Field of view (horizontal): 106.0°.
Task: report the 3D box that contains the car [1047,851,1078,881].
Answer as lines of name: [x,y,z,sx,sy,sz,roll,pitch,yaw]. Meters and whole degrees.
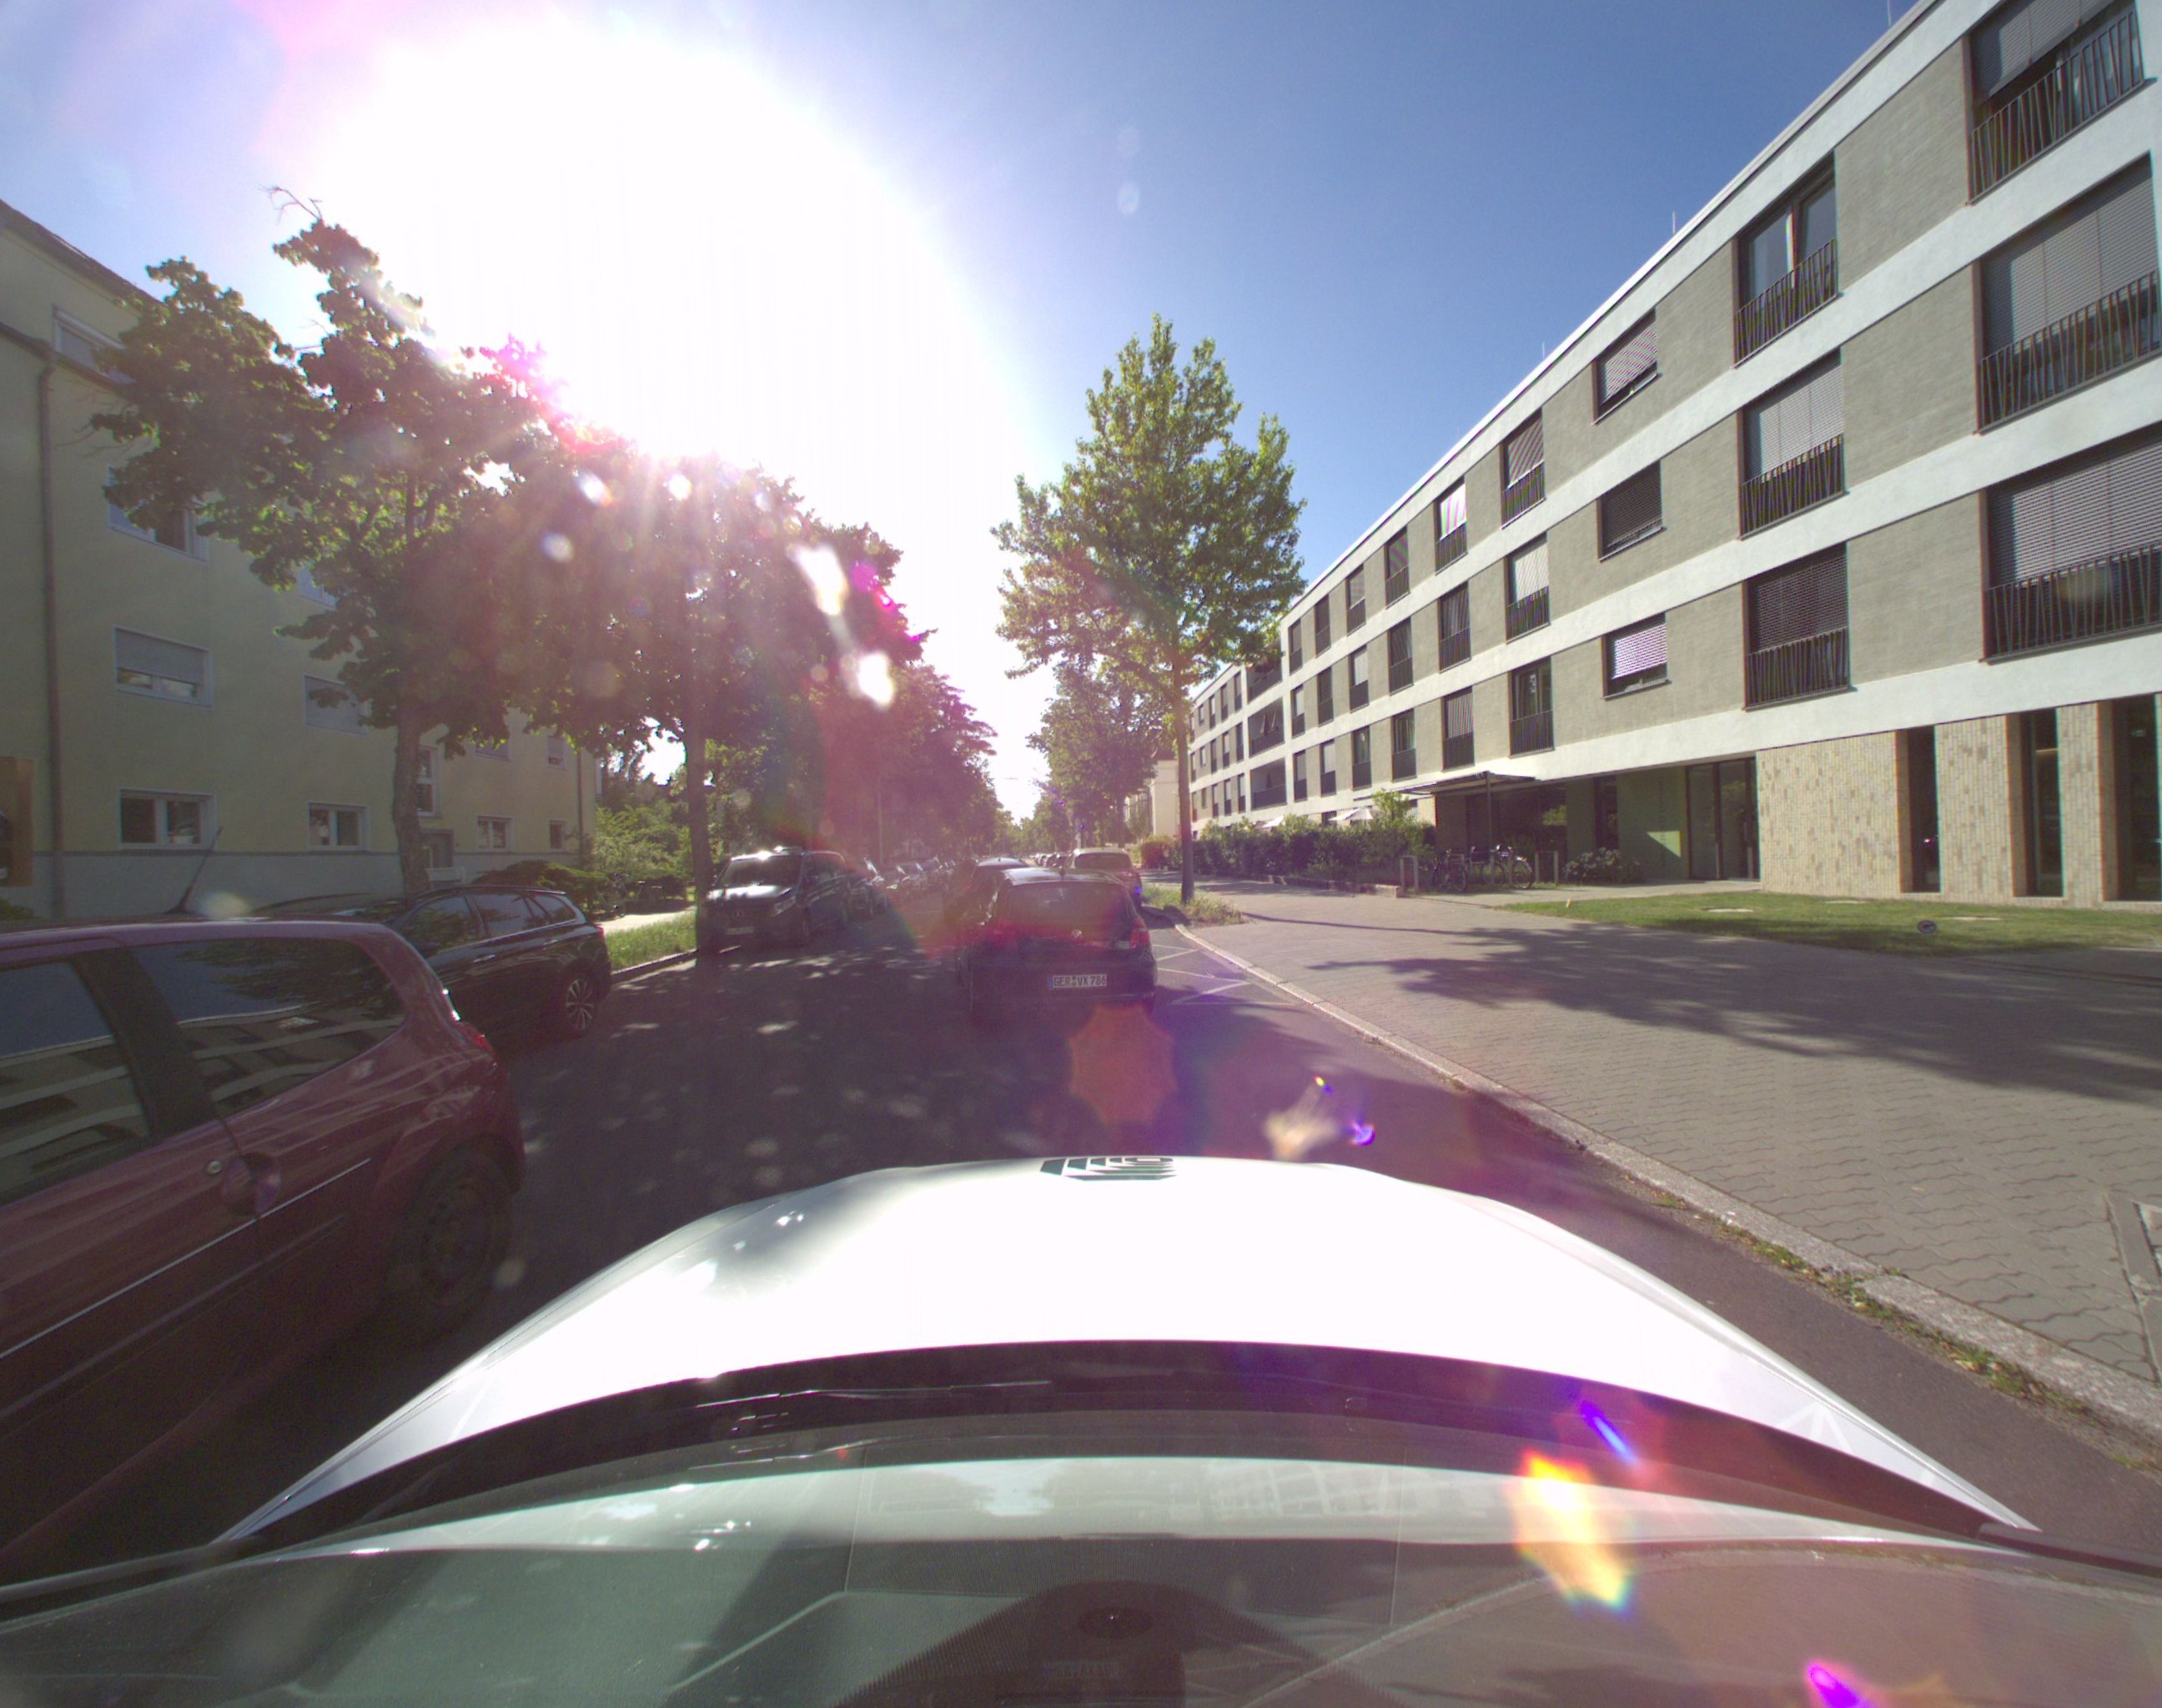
car: [-1.083,0.660,46.572,1.717,1.641,3.847,0,0,-3]

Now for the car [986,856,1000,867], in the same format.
car: [-11.756,0.987,108.671,1.609,1.392,3.859,-3,0,-4]

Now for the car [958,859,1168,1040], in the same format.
car: [-0.382,0.799,8.536,1.650,1.397,3.399,-3,0,-10]

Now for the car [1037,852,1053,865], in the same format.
car: [-4.487,0.587,101.597,1.716,1.480,3.849,-3,0,-1]

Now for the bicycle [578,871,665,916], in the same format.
bicycle: [-14.022,1.190,24.902,2.149,1.208,0.687,-3,0,-15]

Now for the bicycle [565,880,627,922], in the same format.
bicycle: [-13.114,1.241,22.095,0.593,0.991,1.925,-3,0,-4]

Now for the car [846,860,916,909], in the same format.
car: [-6.733,0.983,27.827,1.609,1.427,4.051,-3,0,-4]

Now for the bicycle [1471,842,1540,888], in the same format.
bicycle: [10.334,0.254,19.894,0.545,1.055,1.776,-3,0,-6]

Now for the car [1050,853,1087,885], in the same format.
car: [-0.680,0.715,40.586,1.717,1.528,3.996,0,0,-3]

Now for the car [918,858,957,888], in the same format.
car: [-7.719,0.982,44.014,1.609,1.452,3.859,-3,0,-4]

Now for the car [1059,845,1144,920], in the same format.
car: [0.406,0.655,20.507,1.843,1.631,4.406,-1,0,-2]

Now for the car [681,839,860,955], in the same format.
car: [-6.102,0.737,16.754,1.822,1.904,5.136,-4,0,-3]

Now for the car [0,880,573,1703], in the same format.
car: [-2.750,0.858,1.662,1.502,1.426,3.174,-3,0,-4]

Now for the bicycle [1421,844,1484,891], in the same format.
bicycle: [8.980,0.314,19.750,0.545,1.055,1.688,-3,0,-6]

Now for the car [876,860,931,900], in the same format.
car: [-7.110,1.006,32.900,1.609,1.427,3.720,-3,0,-4]

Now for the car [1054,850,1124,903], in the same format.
car: [0.178,0.673,26.194,1.692,1.524,3.989,-1,0,-8]

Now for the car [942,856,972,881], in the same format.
car: [-8.407,0.978,55.502,1.609,1.543,3.859,-3,0,-4]

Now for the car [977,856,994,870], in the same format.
car: [-10.425,0.917,89.065,1.609,1.392,3.859,-3,0,-4]

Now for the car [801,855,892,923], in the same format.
car: [-6.376,0.884,22.538,1.610,1.611,4.220,-3,0,-6]

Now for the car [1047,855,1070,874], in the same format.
car: [-1.722,0.754,61.664,1.717,1.379,3.847,0,0,-3]

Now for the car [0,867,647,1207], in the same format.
car: [-5.381,0.969,6.451,1.505,1.548,4.771,-4,0,-4]

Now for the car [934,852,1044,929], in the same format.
car: [-2.156,0.730,18.096,1.654,1.425,3.977,-3,0,-17]

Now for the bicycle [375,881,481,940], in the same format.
bicycle: [-12.882,1.087,16.144,0.593,0.991,1.925,-3,0,-4]

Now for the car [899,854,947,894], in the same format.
car: [-7.374,0.879,38.329,1.609,1.678,4.227,-3,0,-4]
